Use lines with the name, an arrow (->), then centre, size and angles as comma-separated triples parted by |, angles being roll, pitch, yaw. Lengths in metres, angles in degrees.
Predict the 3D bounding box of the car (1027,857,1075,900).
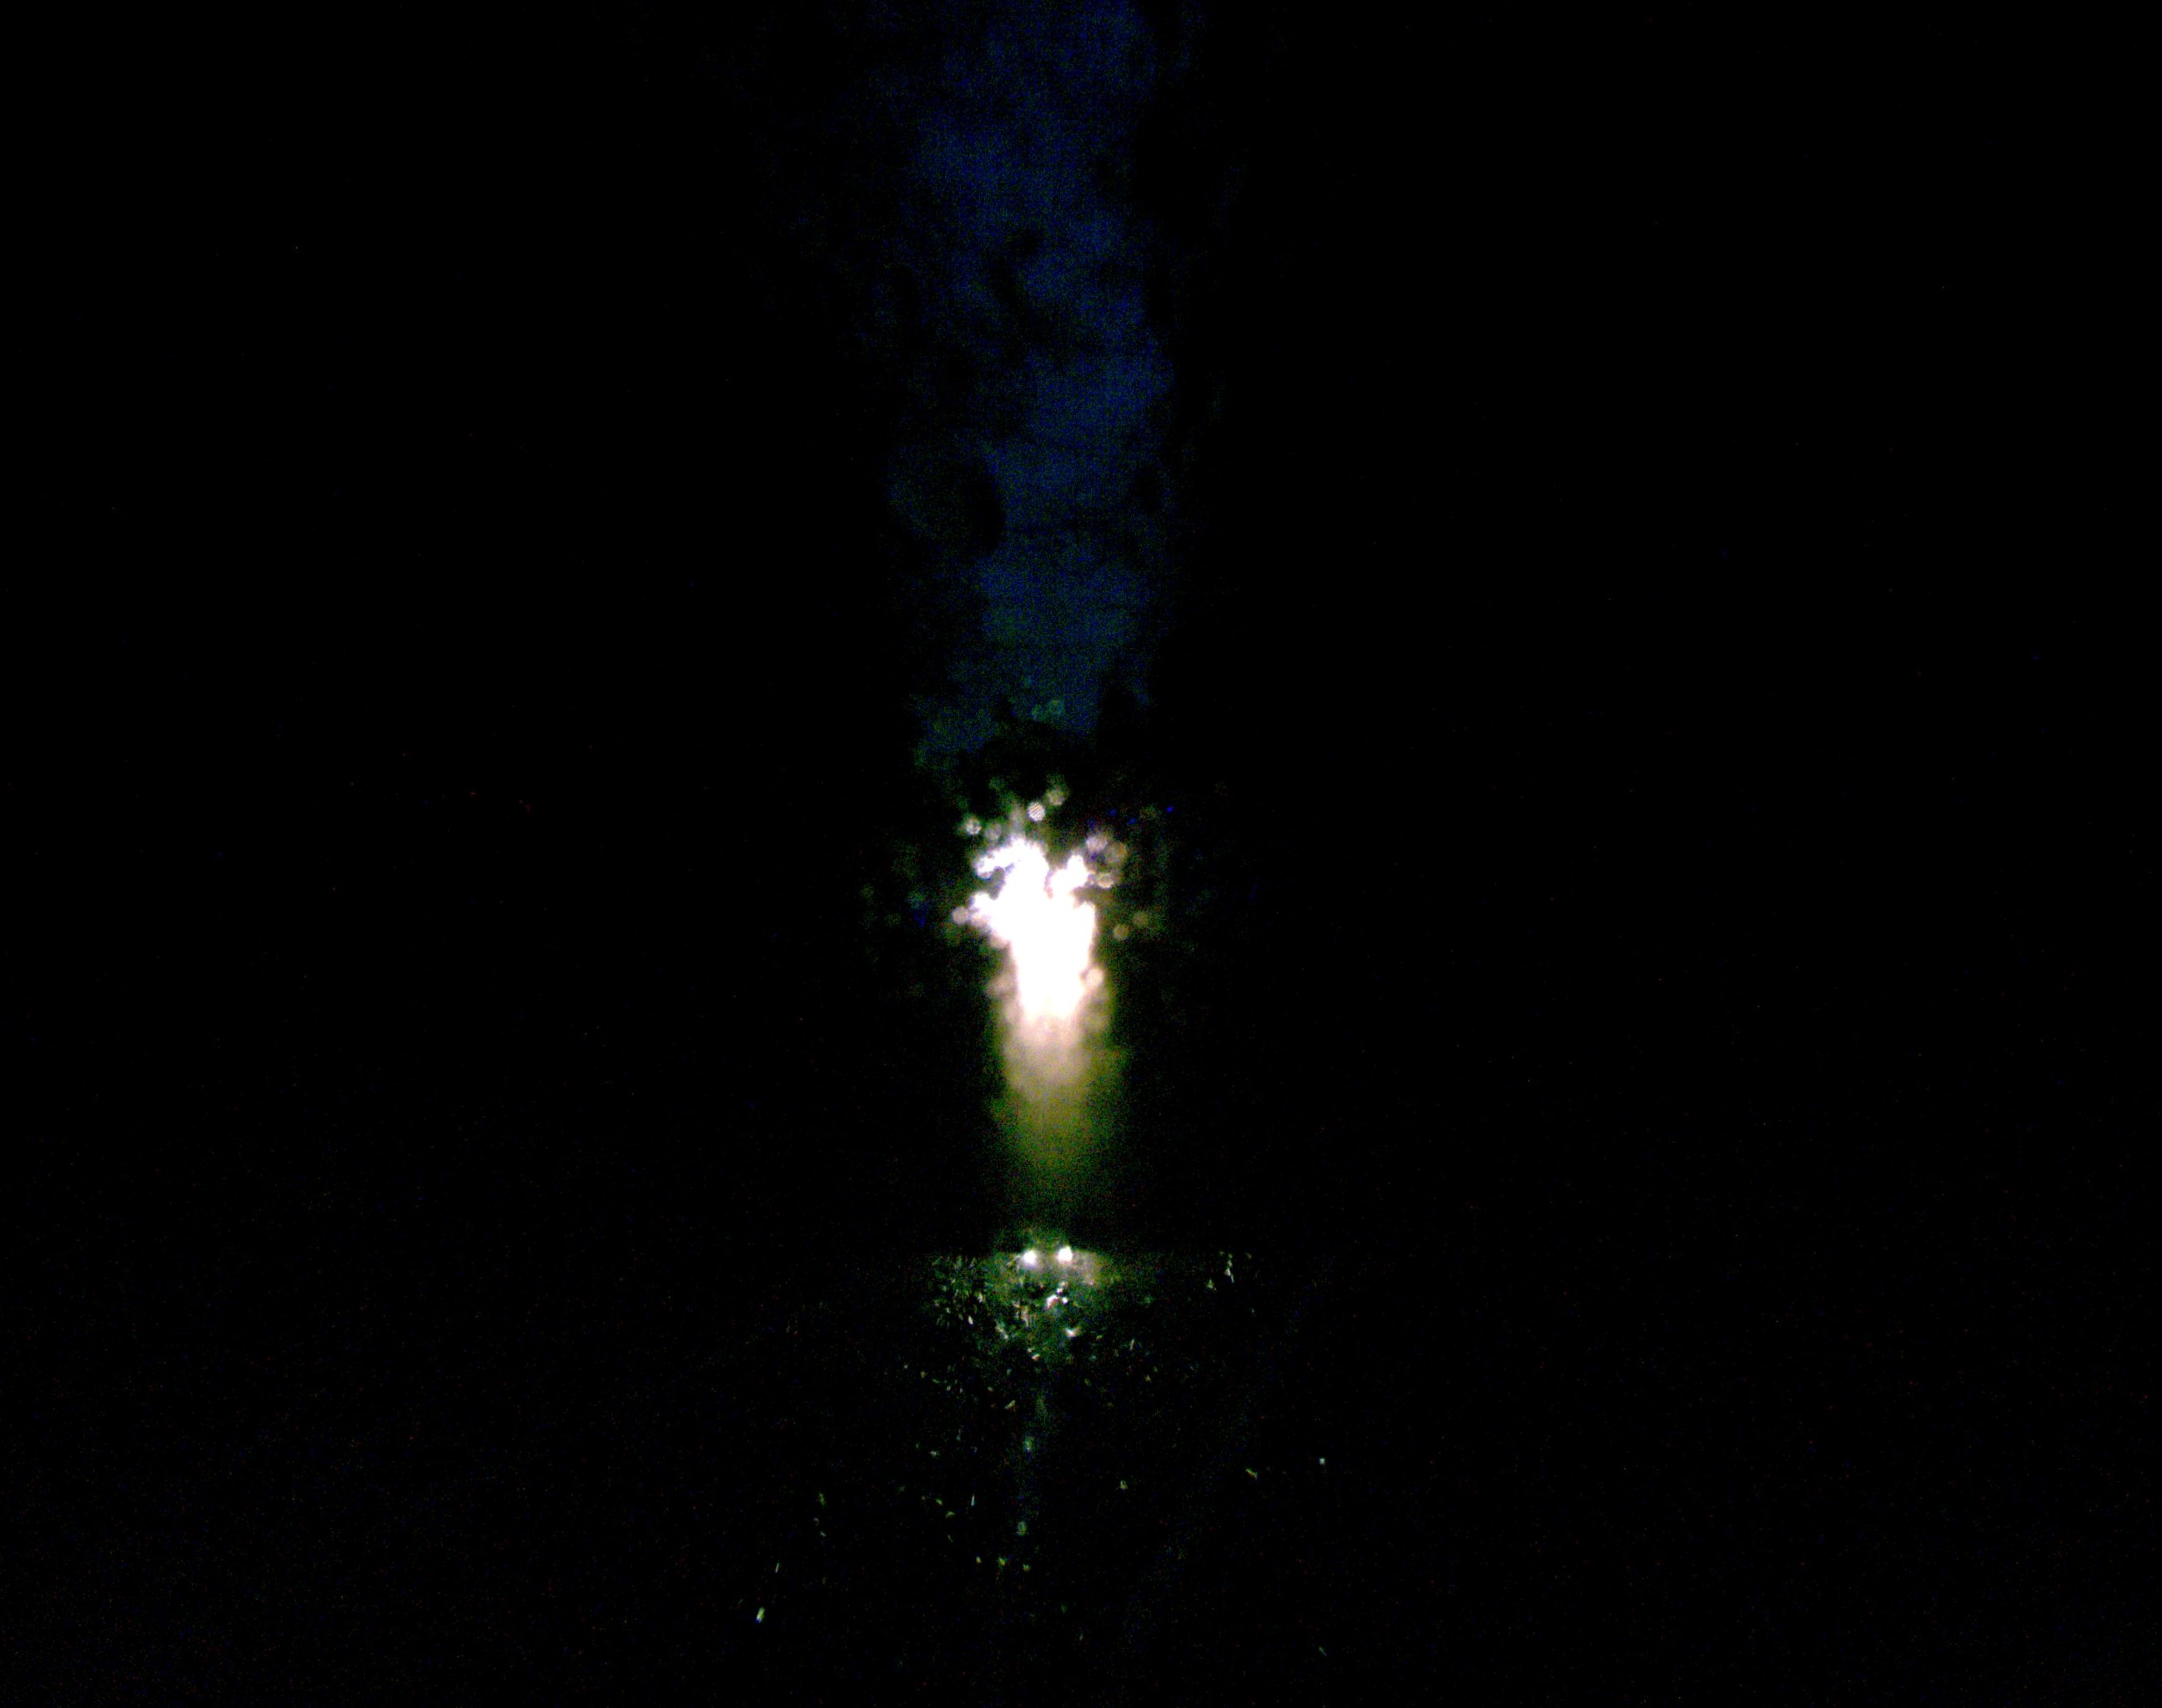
car -> -1.131, 0.880, 28.910 | 1.650, 1.446, 3.680 | -2, 0, -2
